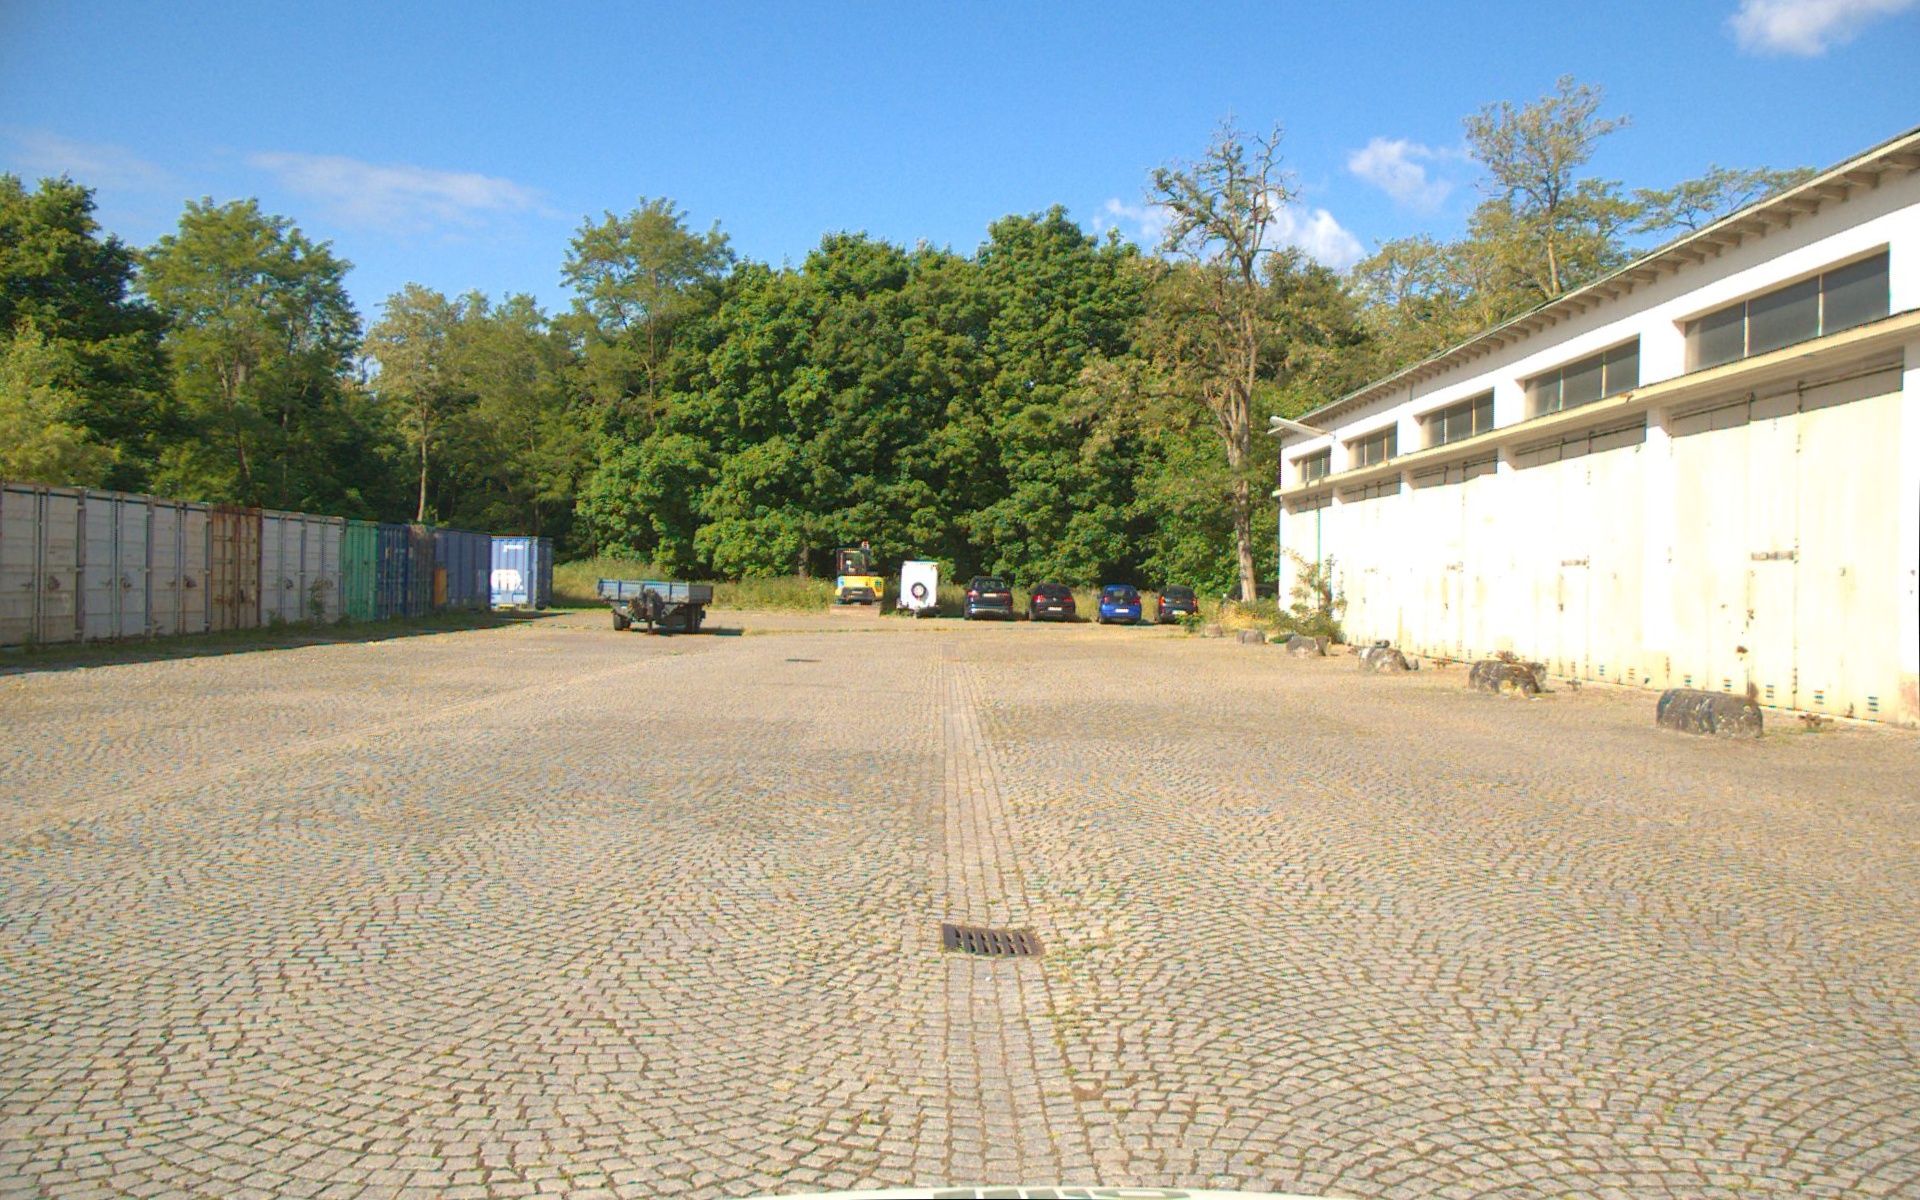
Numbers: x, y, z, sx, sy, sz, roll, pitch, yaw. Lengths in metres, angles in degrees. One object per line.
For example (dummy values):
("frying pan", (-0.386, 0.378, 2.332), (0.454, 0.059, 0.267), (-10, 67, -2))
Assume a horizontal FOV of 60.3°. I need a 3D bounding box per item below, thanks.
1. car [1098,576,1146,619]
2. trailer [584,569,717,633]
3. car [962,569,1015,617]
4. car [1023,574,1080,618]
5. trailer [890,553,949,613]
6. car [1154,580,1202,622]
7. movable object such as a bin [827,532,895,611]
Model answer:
("car", (6.221, -0.109, 63.954), (1.707, 1.461, 4.186), (3, 2, 4))
("trailer", (-8.427, -0.031, 45.689), (2.651, 1.491, 6.245), (2, 1, -2))
("car", (1.075, -0.290, 63.560), (1.826, 1.616, 4.295), (2, 2, -1))
("car", (3.509, -0.187, 63.969), (1.826, 1.495, 4.295), (2, 2, -1))
("trailer", (-1.597, -0.726, 65.890), (2.149, 2.131, 5.751), (2, 2, -1))
("car", (8.602, 0.001, 65.406), (1.707, 1.461, 4.186), (3, 2, 6))
("movable object such as a bin", (-3.926, -1.188, 66.440), (2.259, 2.946, 5.752), (2, 2, 0))
